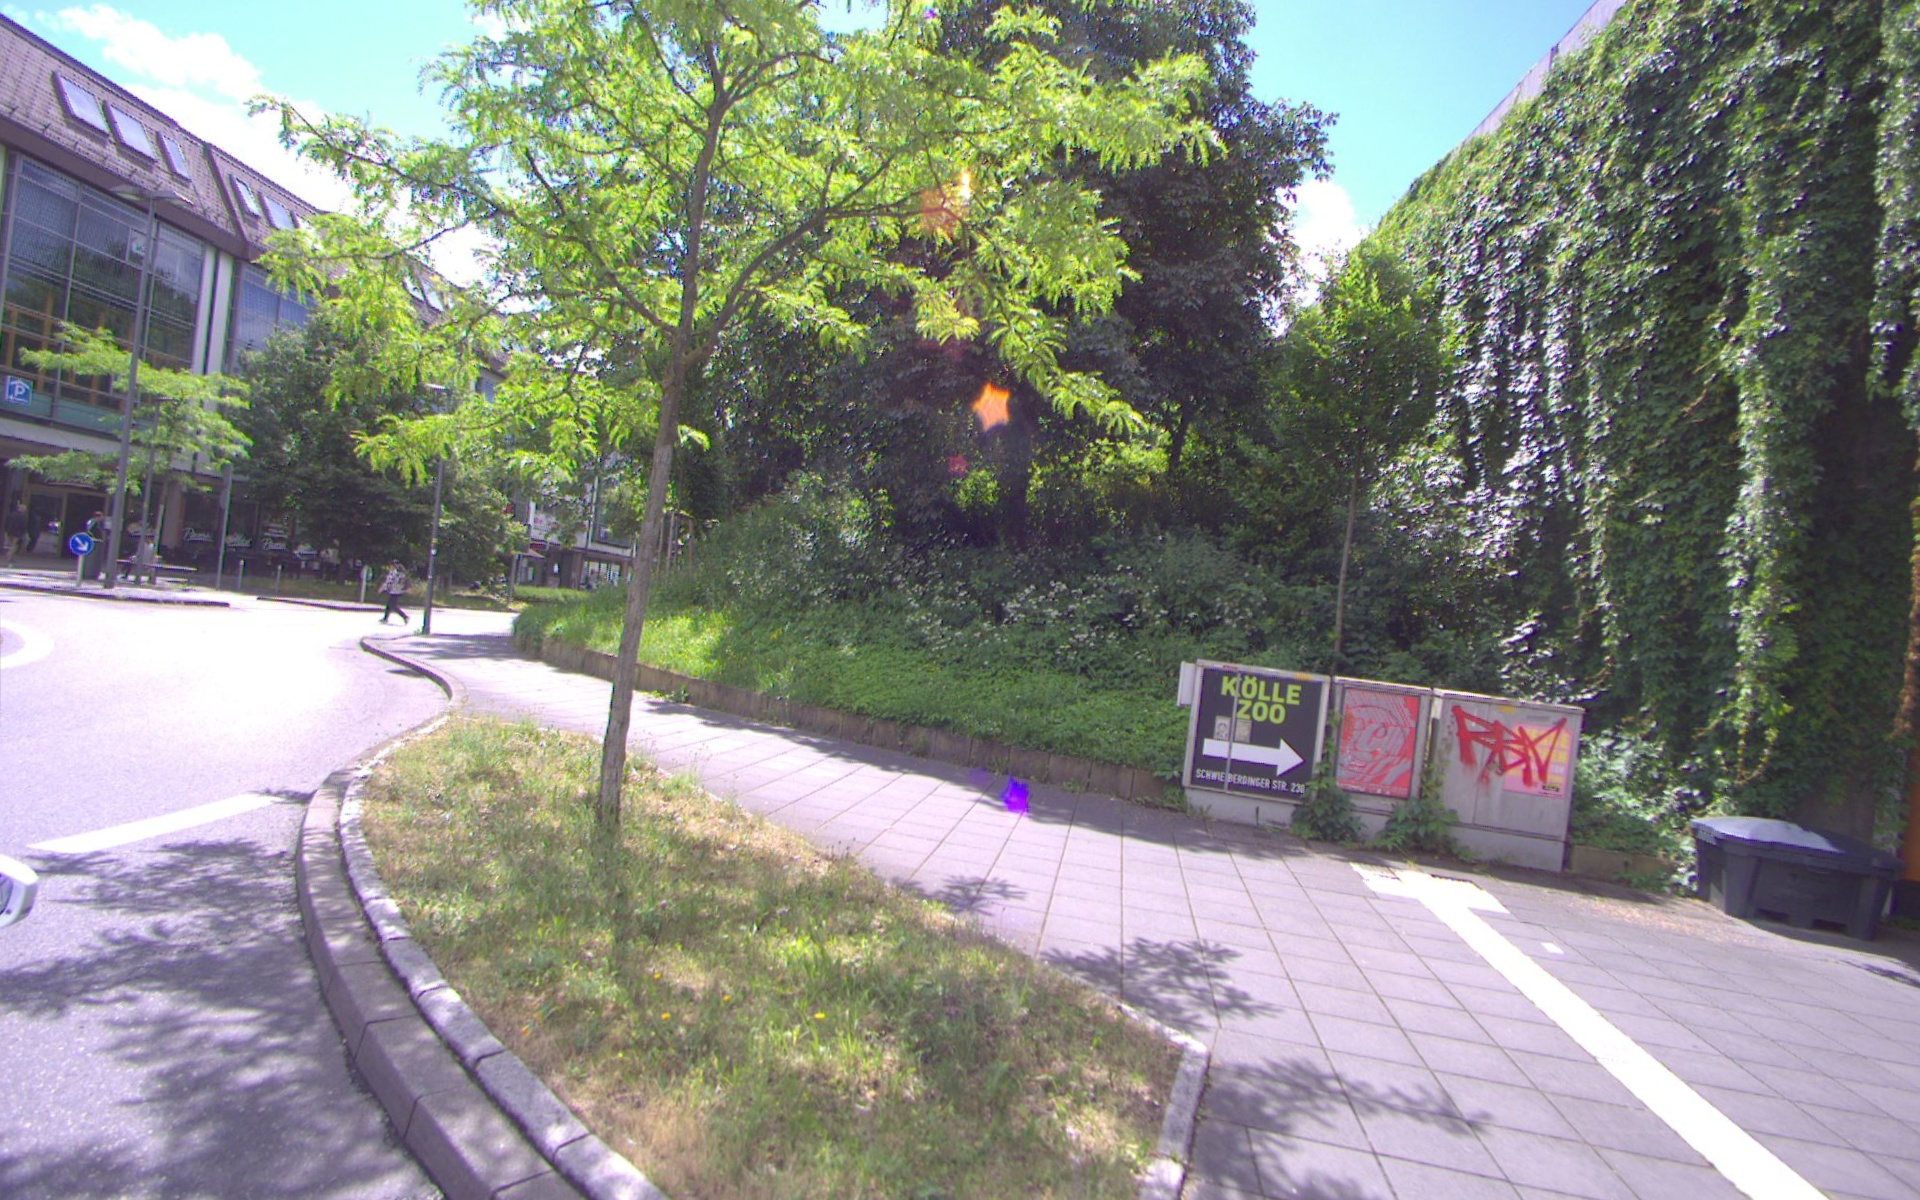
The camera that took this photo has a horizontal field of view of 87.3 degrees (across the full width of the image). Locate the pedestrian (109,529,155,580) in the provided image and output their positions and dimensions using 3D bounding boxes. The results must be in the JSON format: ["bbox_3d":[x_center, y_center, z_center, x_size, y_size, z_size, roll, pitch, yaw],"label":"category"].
[{"bbox_3d":[-23.682,-1.296,28.776,0.684,1.299,0.618,7,-1,14],"label":"pedestrian"}]

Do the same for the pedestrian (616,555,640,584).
[{"bbox_3d":[-25.958,-2.380,78.714,1.324,2.036,1.089,7,-2,0],"label":"pedestrian"}]

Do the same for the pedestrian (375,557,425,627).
[{"bbox_3d":[-13.668,-0.201,24.542,0.761,1.572,0.770,8,-2,-41],"label":"pedestrian"}]

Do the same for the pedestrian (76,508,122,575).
[{"bbox_3d":[-24.783,-1.670,28.962,0.684,1.843,0.617,7,3,7],"label":"pedestrian"}]

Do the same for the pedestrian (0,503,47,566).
[{"bbox_3d":[-26.902,-1.868,28.870,0.607,1.694,0.697,8,-1,-12],"label":"pedestrian"}]
